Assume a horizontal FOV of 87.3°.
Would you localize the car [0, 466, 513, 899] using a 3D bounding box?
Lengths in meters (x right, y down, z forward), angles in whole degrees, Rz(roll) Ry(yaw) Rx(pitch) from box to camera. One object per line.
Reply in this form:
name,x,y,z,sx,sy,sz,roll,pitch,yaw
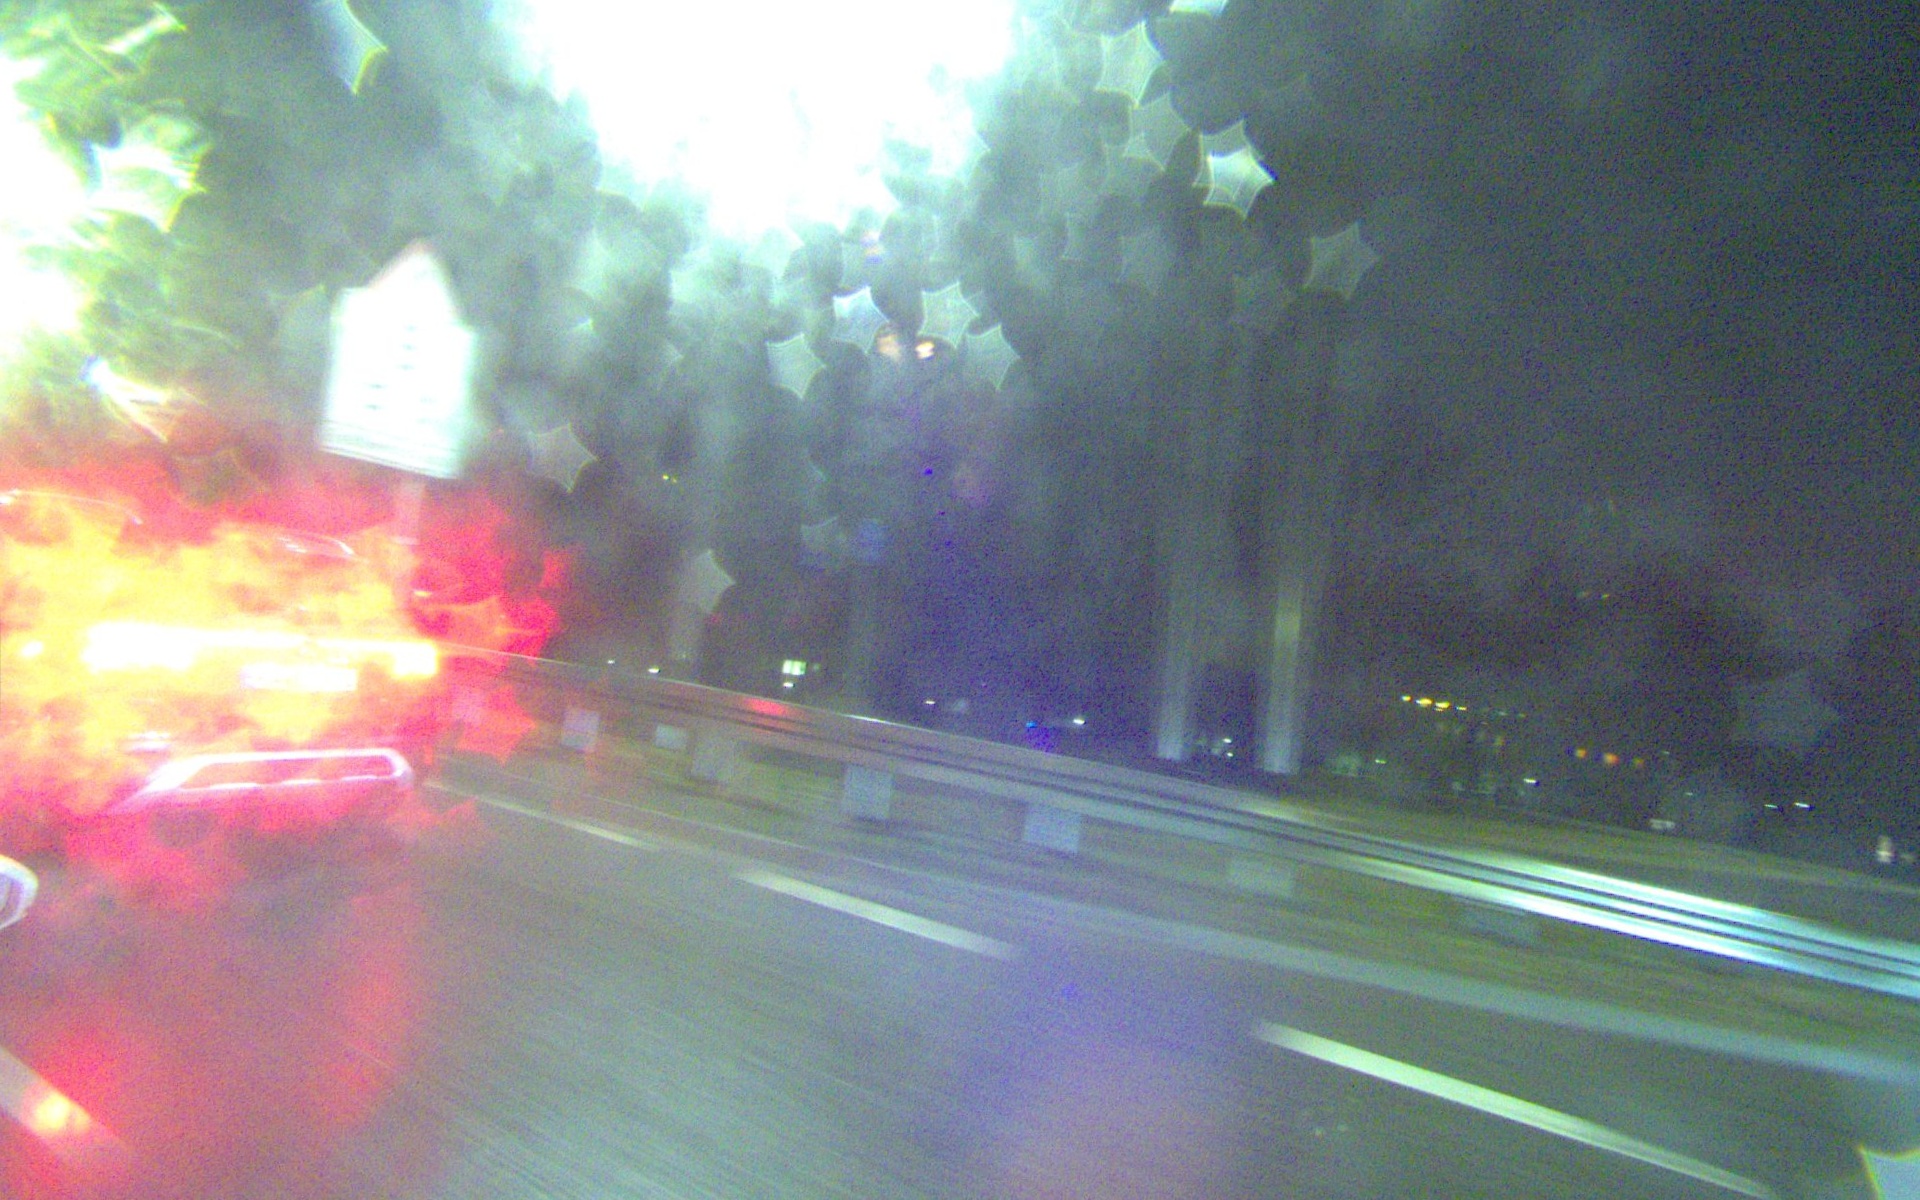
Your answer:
car,-4.653,0.218,5.495,3.930,1.605,1.860,6,-1,27
